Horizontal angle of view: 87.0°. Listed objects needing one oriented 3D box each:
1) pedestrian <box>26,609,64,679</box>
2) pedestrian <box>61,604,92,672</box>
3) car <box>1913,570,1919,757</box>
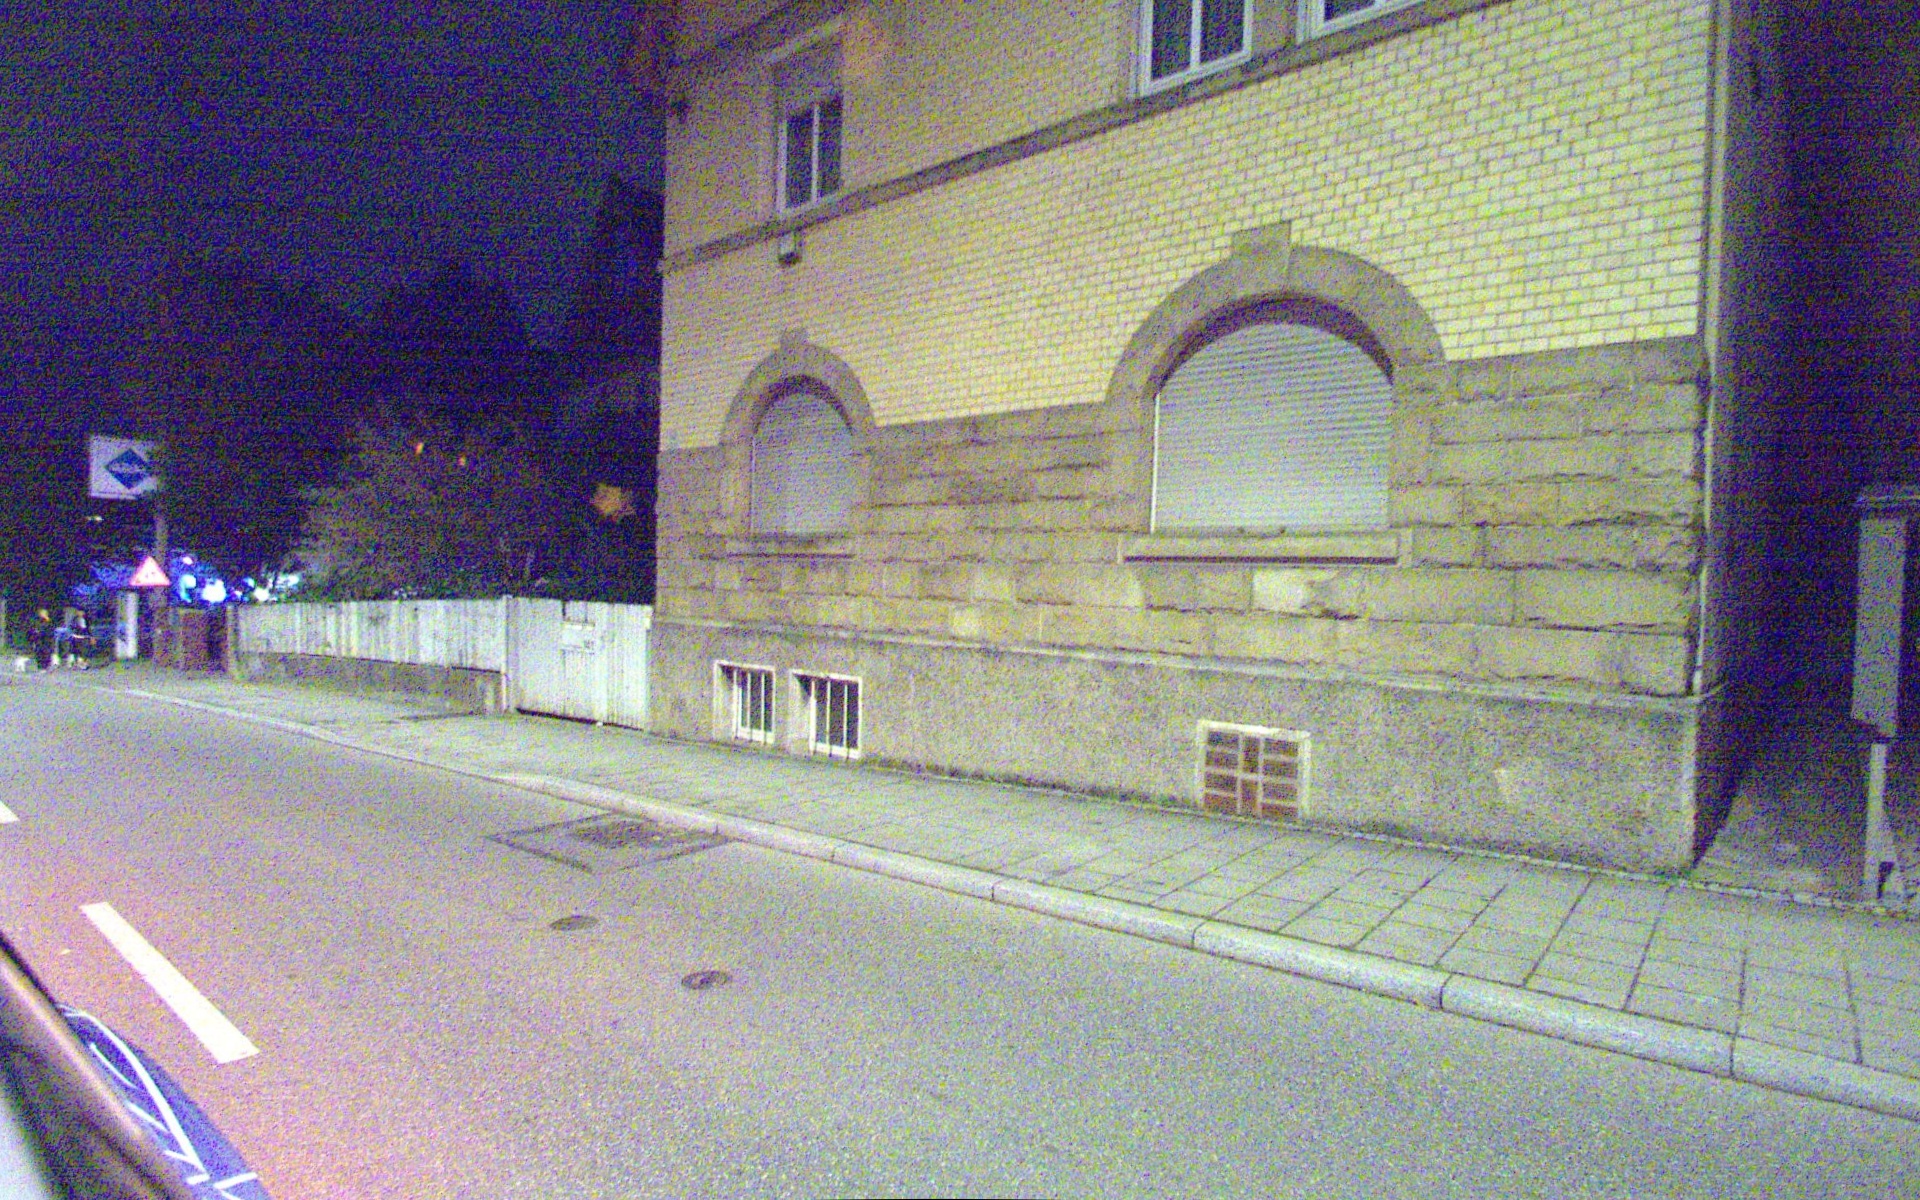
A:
[{"bbox_3d":[-23.696,1.132,26.202,0.500,1.773,0.664,-1,0,41],"label":"pedestrian"},{"bbox_3d":[-23.519,1.002,26.932,0.500,1.773,0.557,-1,0,41],"label":"pedestrian"},{"bbox_3d":[7.205,0.541,6.232,1.718,1.452,3.612,-1,2,40],"label":"car"}]
